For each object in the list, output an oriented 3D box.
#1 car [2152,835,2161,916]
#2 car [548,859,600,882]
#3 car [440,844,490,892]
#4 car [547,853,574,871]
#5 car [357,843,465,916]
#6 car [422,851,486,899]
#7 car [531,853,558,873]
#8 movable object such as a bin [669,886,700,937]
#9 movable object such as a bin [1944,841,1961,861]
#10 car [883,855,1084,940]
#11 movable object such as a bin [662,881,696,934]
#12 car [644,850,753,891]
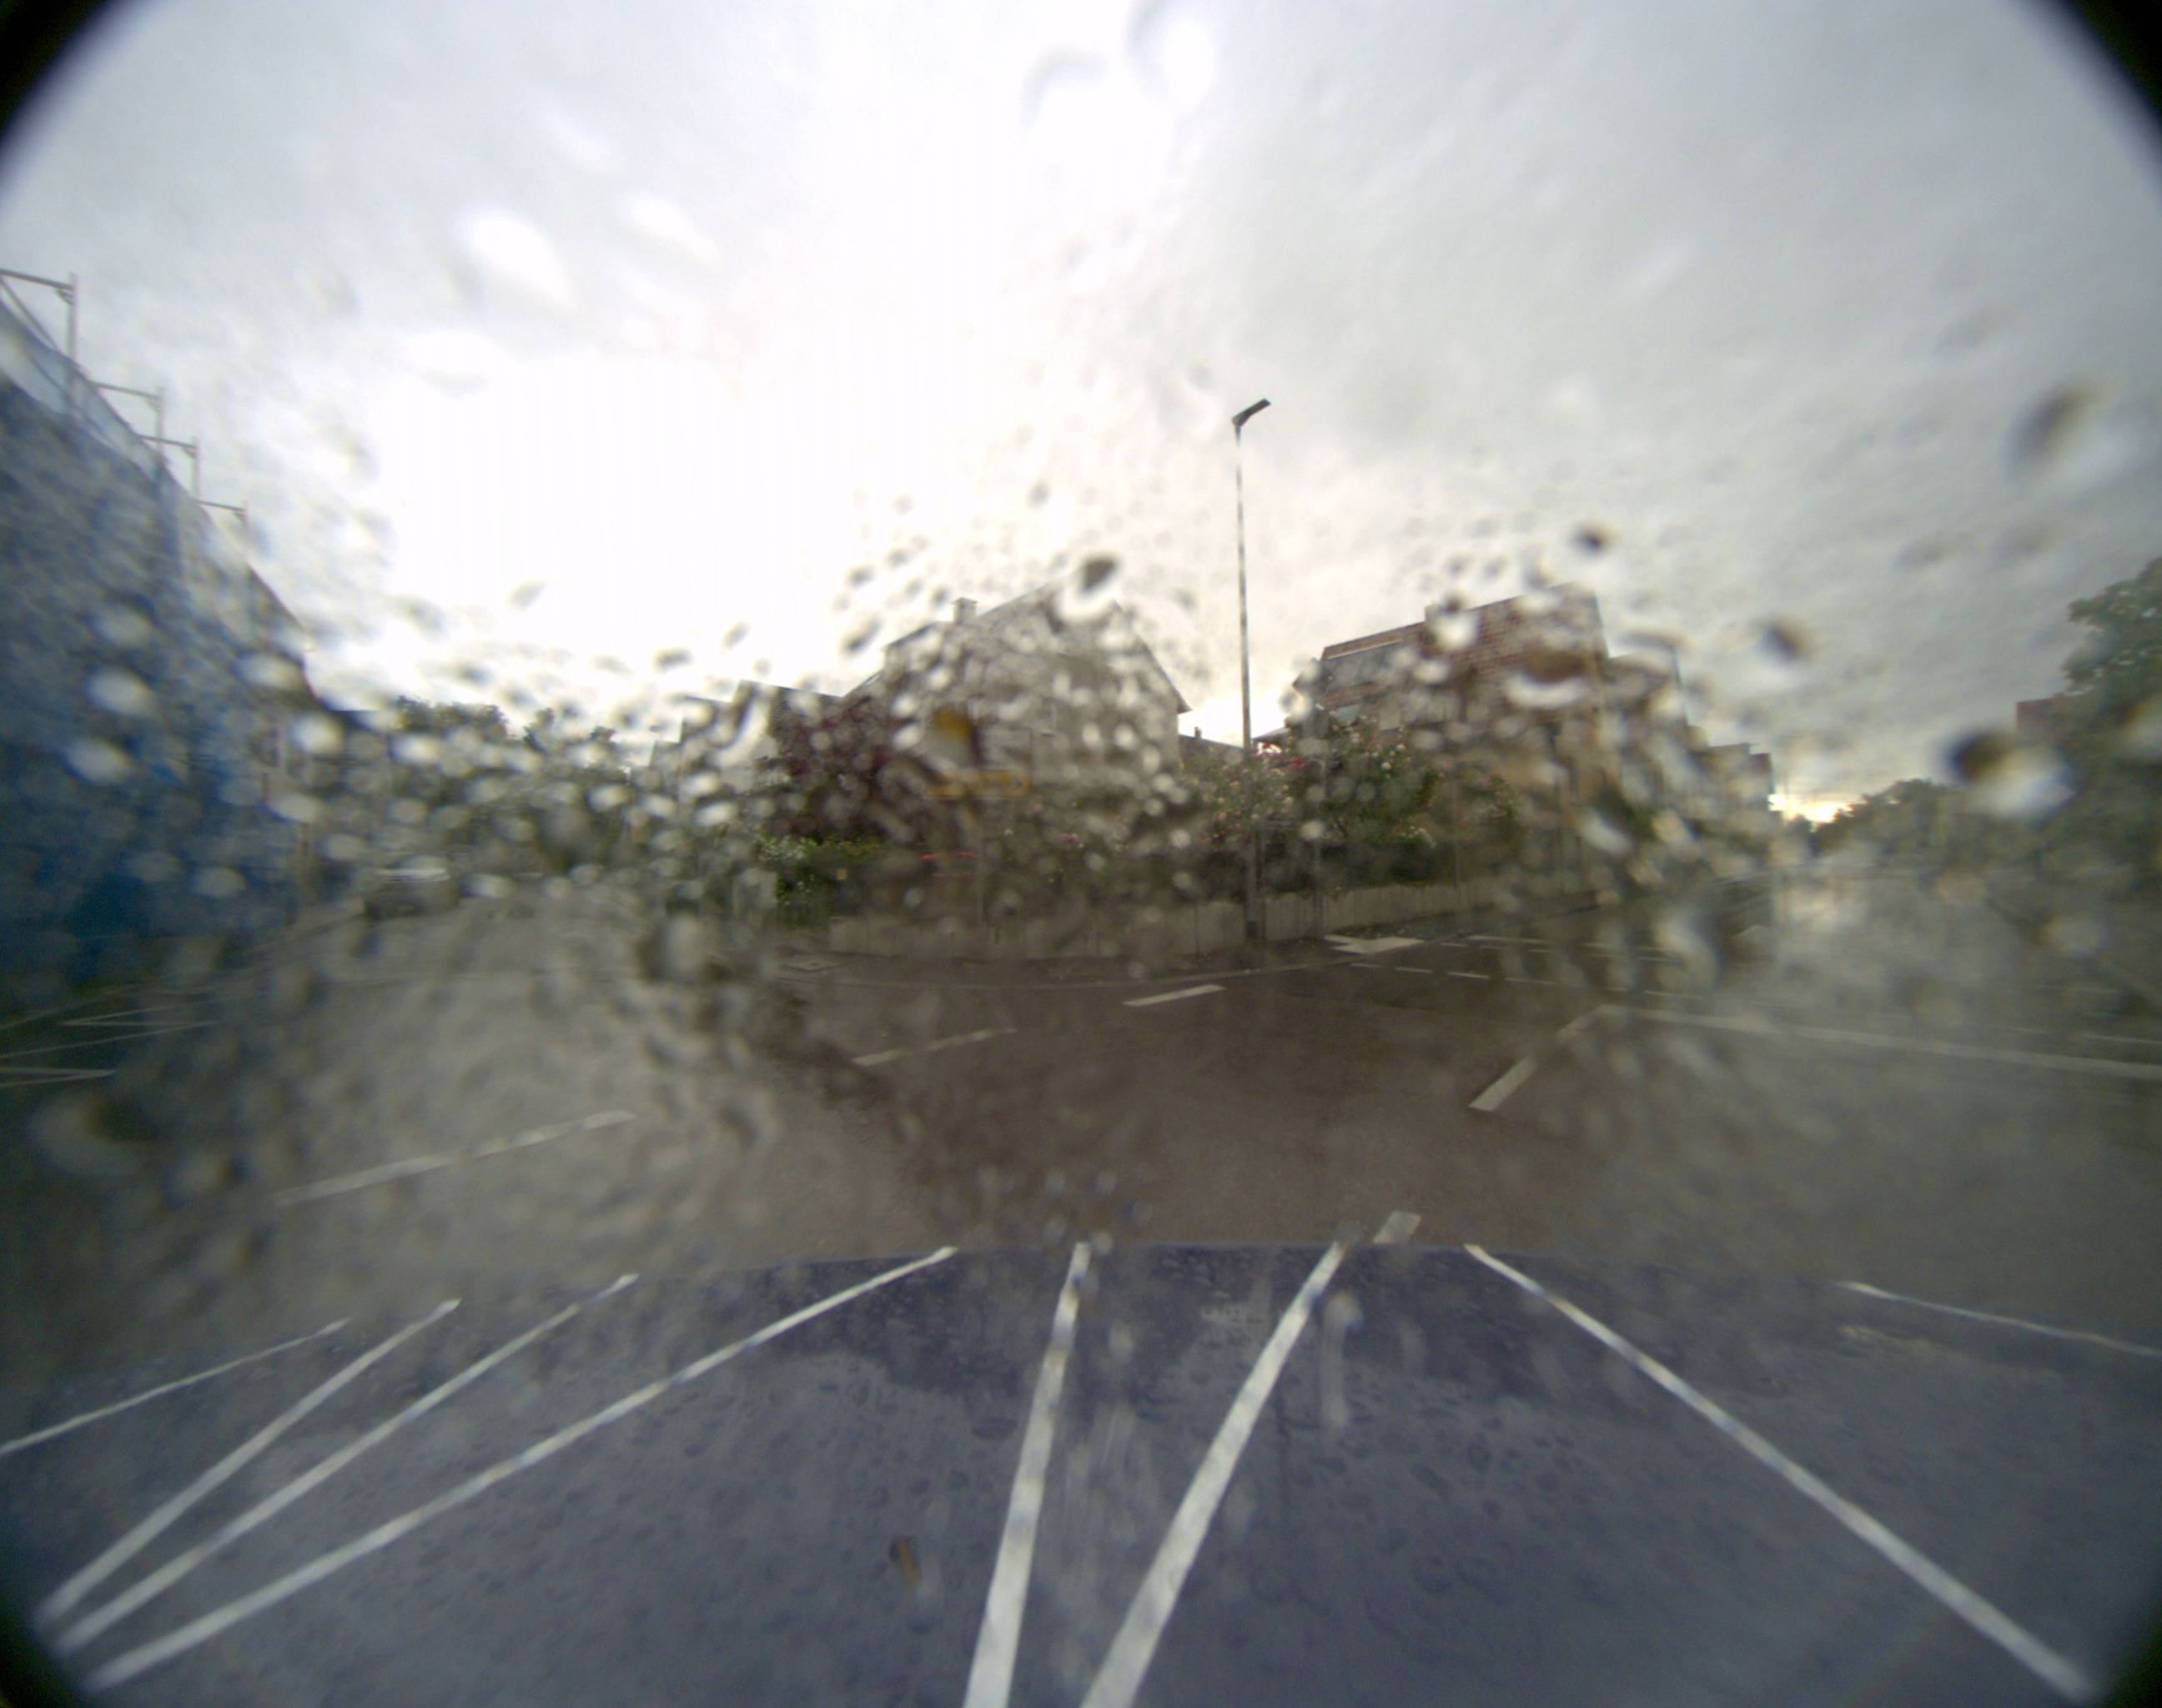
[{"bbox_3d":[20.973,0.290,12.557,1.666,1.519,3.548,-2,-3,-42],"label":"car"},{"bbox_3d":[-30.581,0.973,45.933,1.768,1.346,3.671,1,0,-19],"label":"car"},{"bbox_3d":[-29.117,0.628,35.934,1.715,2.089,3.929,-2,1,-39],"label":"car"},{"bbox_3d":[-45.171,0.697,65.855,1.713,1.508,3.582,-1,1,-38],"label":"car"},{"bbox_3d":[-19.886,0.682,22.738,1.832,1.964,4.505,-1,1,-34],"label":"car"},{"bbox_3d":[-25.609,0.797,31.156,1.832,1.786,4.504,-1,1,-38],"label":"car"},{"bbox_3d":[-43.236,0.672,61.212,1.614,1.532,3.582,-1,1,-38],"label":"car"},{"bbox_3d":[-8.182,1.177,15.685,0.523,1.020,0.413,0,0,-34],"label":"movable object such as a bin"},{"bbox_3d":[48.475,-0.149,42.274,0.528,1.075,0.553,-2,-4,-41],"label":"movable object such as a bin"},{"bbox_3d":[-2.011,0.842,16.368,4.009,1.589,1.716,1,0,-42],"label":"car"},{"bbox_3d":[-8.537,1.130,16.131,0.523,1.044,0.413,-5,3,-34],"label":"movable object such as a bin"},{"bbox_3d":[-17.258,0.709,34.395,1.776,1.696,4.008,0,1,44],"label":"car"}]
